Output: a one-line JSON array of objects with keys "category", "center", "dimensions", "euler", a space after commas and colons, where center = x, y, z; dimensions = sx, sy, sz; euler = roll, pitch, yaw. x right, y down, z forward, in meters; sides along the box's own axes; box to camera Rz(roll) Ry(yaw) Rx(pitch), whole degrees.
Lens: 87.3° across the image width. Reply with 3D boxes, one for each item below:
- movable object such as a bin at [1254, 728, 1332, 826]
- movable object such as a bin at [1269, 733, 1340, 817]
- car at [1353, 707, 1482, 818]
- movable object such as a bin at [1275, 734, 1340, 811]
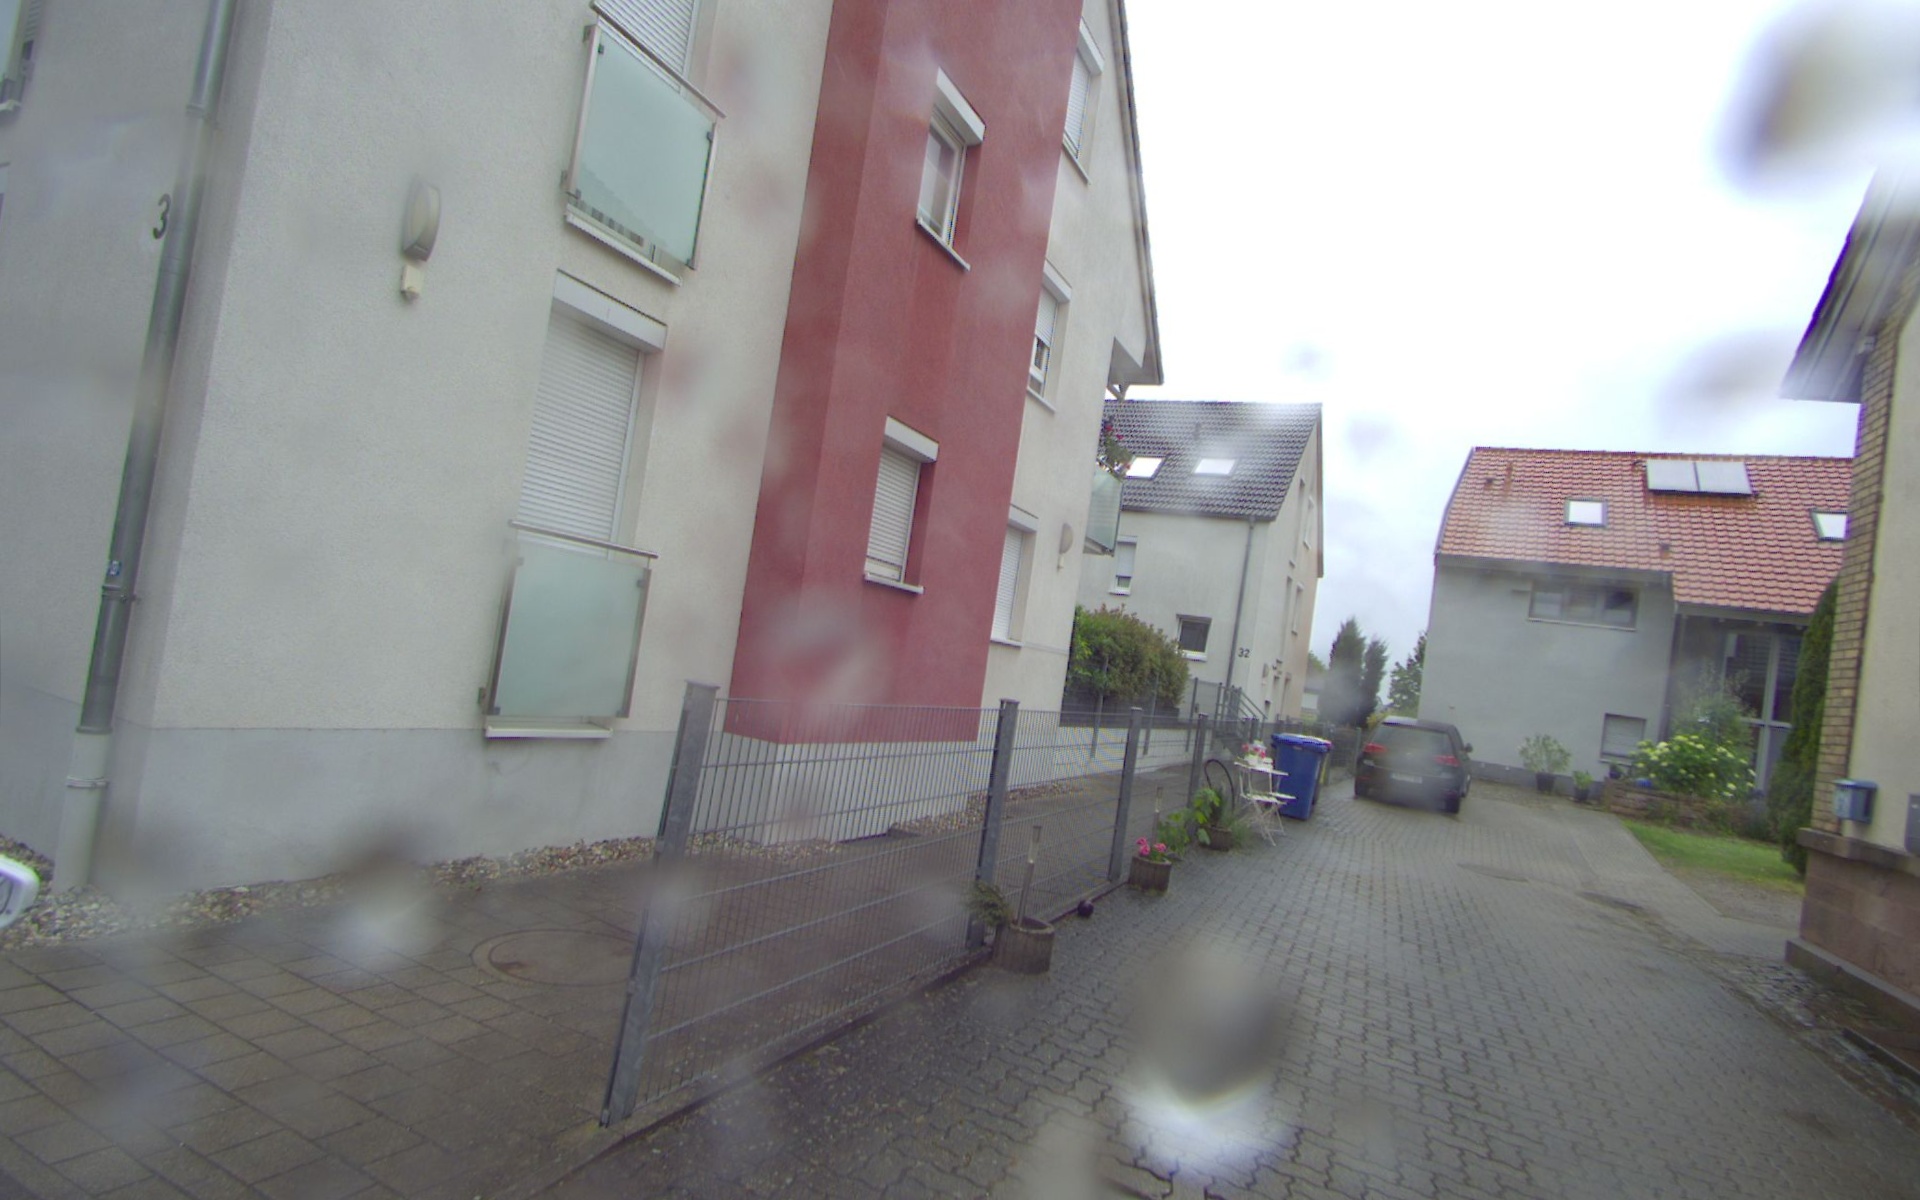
[{"category": "movable object such as a bin", "center": [4.495, 2.363, 13.562], "dimensions": [0.789, 1.146, 0.729], "euler": [7, -4, 26]}, {"category": "movable object such as a bin", "center": [4.989, 2.518, 14.550], "dimensions": [0.789, 1.049, 0.729], "euler": [7, -4, 26]}, {"category": "car", "center": [8.492, 2.885, 18.534], "dimensions": [1.667, 1.481, 3.566], "euler": [7, 0, 31]}, {"category": "movable object such as a bin", "center": [5.454, 2.687, 15.773], "dimensions": [0.789, 1.049, 0.729], "euler": [7, -4, 26]}]
